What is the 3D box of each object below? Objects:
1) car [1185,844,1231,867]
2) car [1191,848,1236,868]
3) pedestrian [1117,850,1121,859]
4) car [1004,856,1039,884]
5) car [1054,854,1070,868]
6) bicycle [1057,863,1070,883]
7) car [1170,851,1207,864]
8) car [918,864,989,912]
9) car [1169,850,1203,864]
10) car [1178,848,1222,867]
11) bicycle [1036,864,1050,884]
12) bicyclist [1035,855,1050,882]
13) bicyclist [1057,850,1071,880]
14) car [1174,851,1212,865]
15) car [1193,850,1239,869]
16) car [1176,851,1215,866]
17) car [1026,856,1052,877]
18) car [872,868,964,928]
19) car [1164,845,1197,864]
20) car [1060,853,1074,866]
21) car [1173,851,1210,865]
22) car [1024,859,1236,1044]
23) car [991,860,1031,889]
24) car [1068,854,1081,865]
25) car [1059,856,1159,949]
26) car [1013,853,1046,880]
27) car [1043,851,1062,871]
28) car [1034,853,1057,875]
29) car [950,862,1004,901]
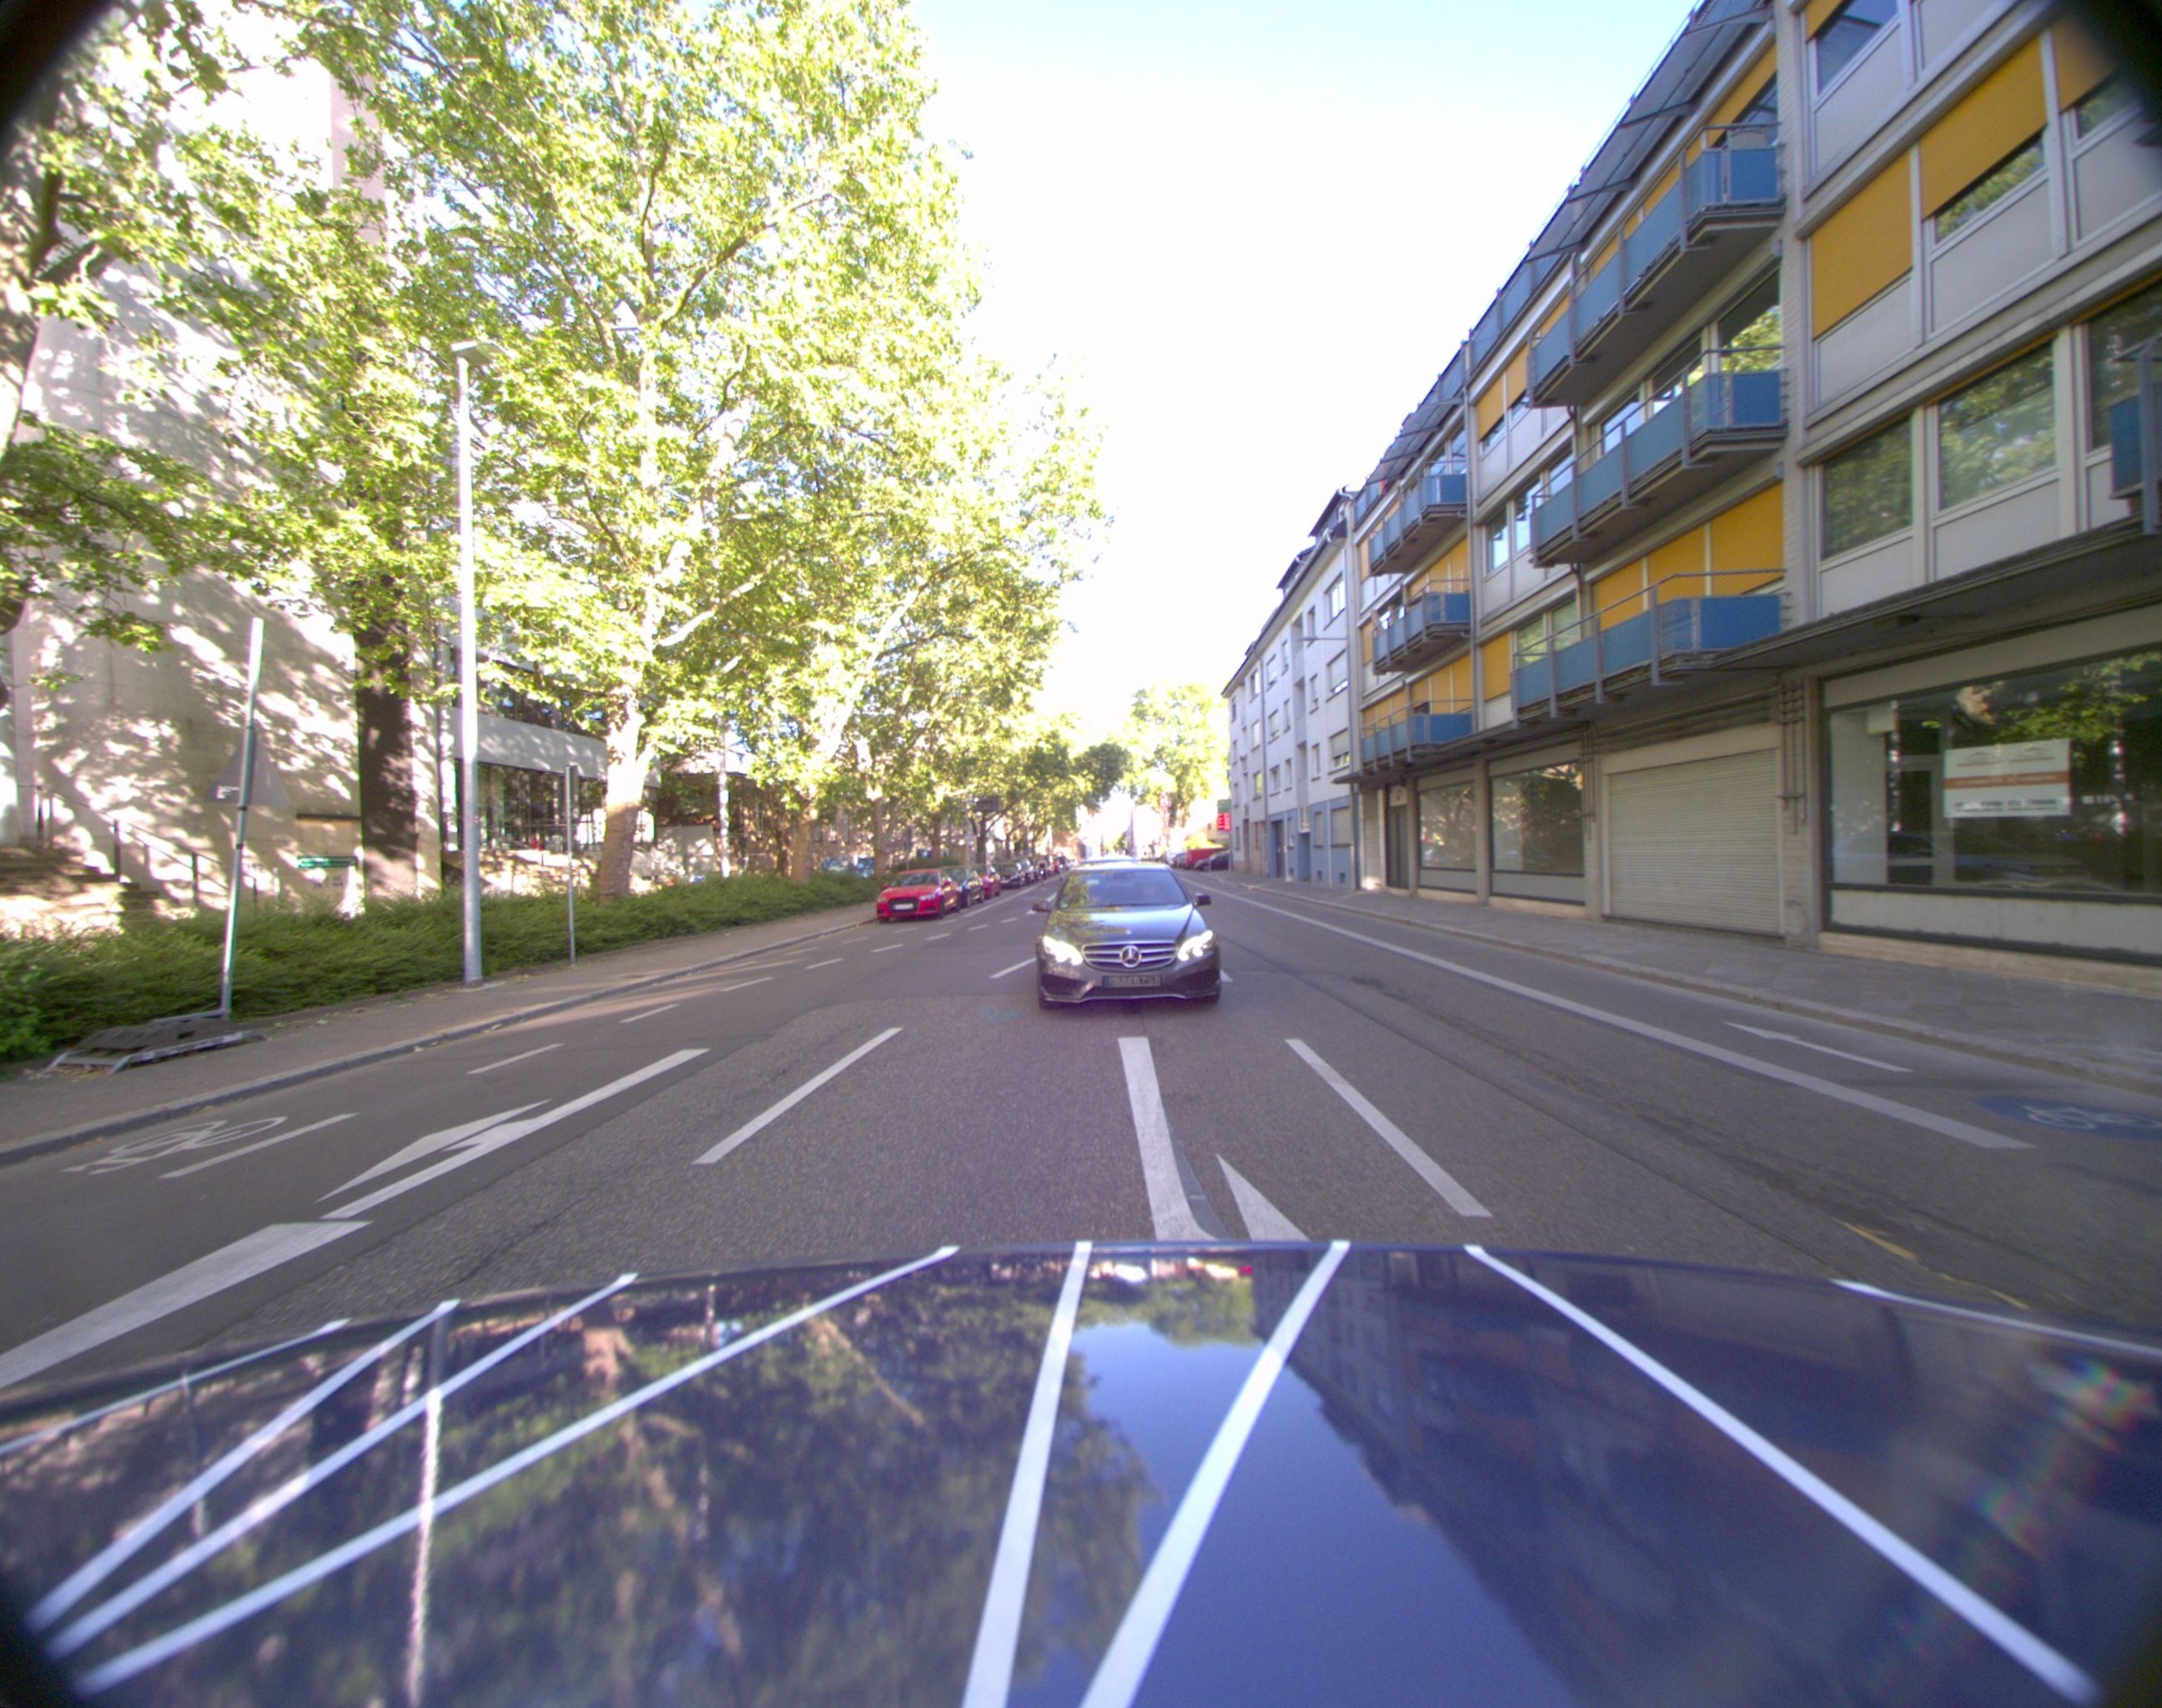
[{"bbox_3d":[11.419,0.166,68.403,3.905,1.895,1.750,-2,0,3],"label":"car"},{"bbox_3d":[11.419,0.354,65.558,3.667,1.501,1.602,-2,1,3],"label":"car"},{"bbox_3d":[9.670,0.066,192.560,0.884,2.108,0.821,-2,1,2],"label":"pedestrian"},{"bbox_3d":[-3.608,0.952,46.771,1.686,1.610,3.837,-2,0,1],"label":"car"},{"bbox_3d":[-2.255,0.838,91.758,1.638,1.493,3.753,-2,0,1],"label":"car"},{"bbox_3d":[-1.012,1.100,45.132,0.667,1.093,1.814,-2,1,1],"label":"bicycle"},{"bbox_3d":[12.225,0.419,86.544,3.905,1.325,1.526,-2,1,3],"label":"car"},{"bbox_3d":[-4.462,1.154,27.137,1.686,1.458,4.000,-3,0,1],"label":"car"},{"bbox_3d":[12.288,0.354,89.228,3.782,1.432,1.539,-2,1,3],"label":"car"},{"bbox_3d":[11.115,0.336,71.205,3.905,1.577,1.604,-2,1,3],"label":"car"},{"bbox_3d":[-2.196,1.145,44.242,0.667,1.093,1.814,-2,1,1],"label":"bicycle"},{"bbox_3d":[-2.225,0.817,44.261,0.755,1.512,0.768,-2,1,0],"label":"bicyclist"},{"bbox_3d":[-1.022,0.636,45.182,0.755,1.714,0.768,-2,1,0],"label":"bicyclist"},{"bbox_3d":[12.001,0.442,81.404,3.905,1.366,1.595,-2,1,3],"label":"car"},{"bbox_3d":[11.204,0.453,63.156,3.598,1.401,1.535,-2,0,3],"label":"car"},{"bbox_3d":[11.930,0.463,79.382,3.905,1.366,1.595,-2,1,3],"label":"car"},{"bbox_3d":[-3.257,0.933,59.217,1.686,1.552,3.868,-2,0,1],"label":"car"},{"bbox_3d":[-4.672,1.210,22.381,1.724,1.412,4.031,-4,0,1],"label":"car"},{"bbox_3d":[12.233,0.052,93.724,3.905,2.164,1.725,-2,1,3],"label":"car"},{"bbox_3d":[-1.828,0.698,100.375,1.686,1.546,3.837,-2,0,1],"label":"car"},{"bbox_3d":[12.170,0.443,84.156,3.905,1.325,1.526,-2,1,3],"label":"car"},{"bbox_3d":[0.467,0.886,8.910,1.828,1.495,4.294,-2,1,1],"label":"car"},{"bbox_3d":[-3.826,1.088,42.114,1.686,1.442,4.000,-2,0,1],"label":"car"},{"bbox_3d":[-0.951,0.759,111.504,1.686,1.475,3.837,-2,0,1],"label":"car"},{"bbox_3d":[0.539,0.875,15.799,1.732,1.538,4.294,-2,1,1],"label":"car"},{"bbox_3d":[-3.548,0.824,52.898,1.819,1.758,4.431,-2,0,1],"label":"car"},{"bbox_3d":[-2.781,0.664,74.927,1.645,1.839,3.837,-2,0,1],"label":"car"},{"bbox_3d":[-2.955,0.816,64.069,1.663,1.704,3.837,-2,0,1],"label":"car"},{"bbox_3d":[-4.358,1.125,32.321,1.666,1.426,3.781,-2,0,1],"label":"car"}]
